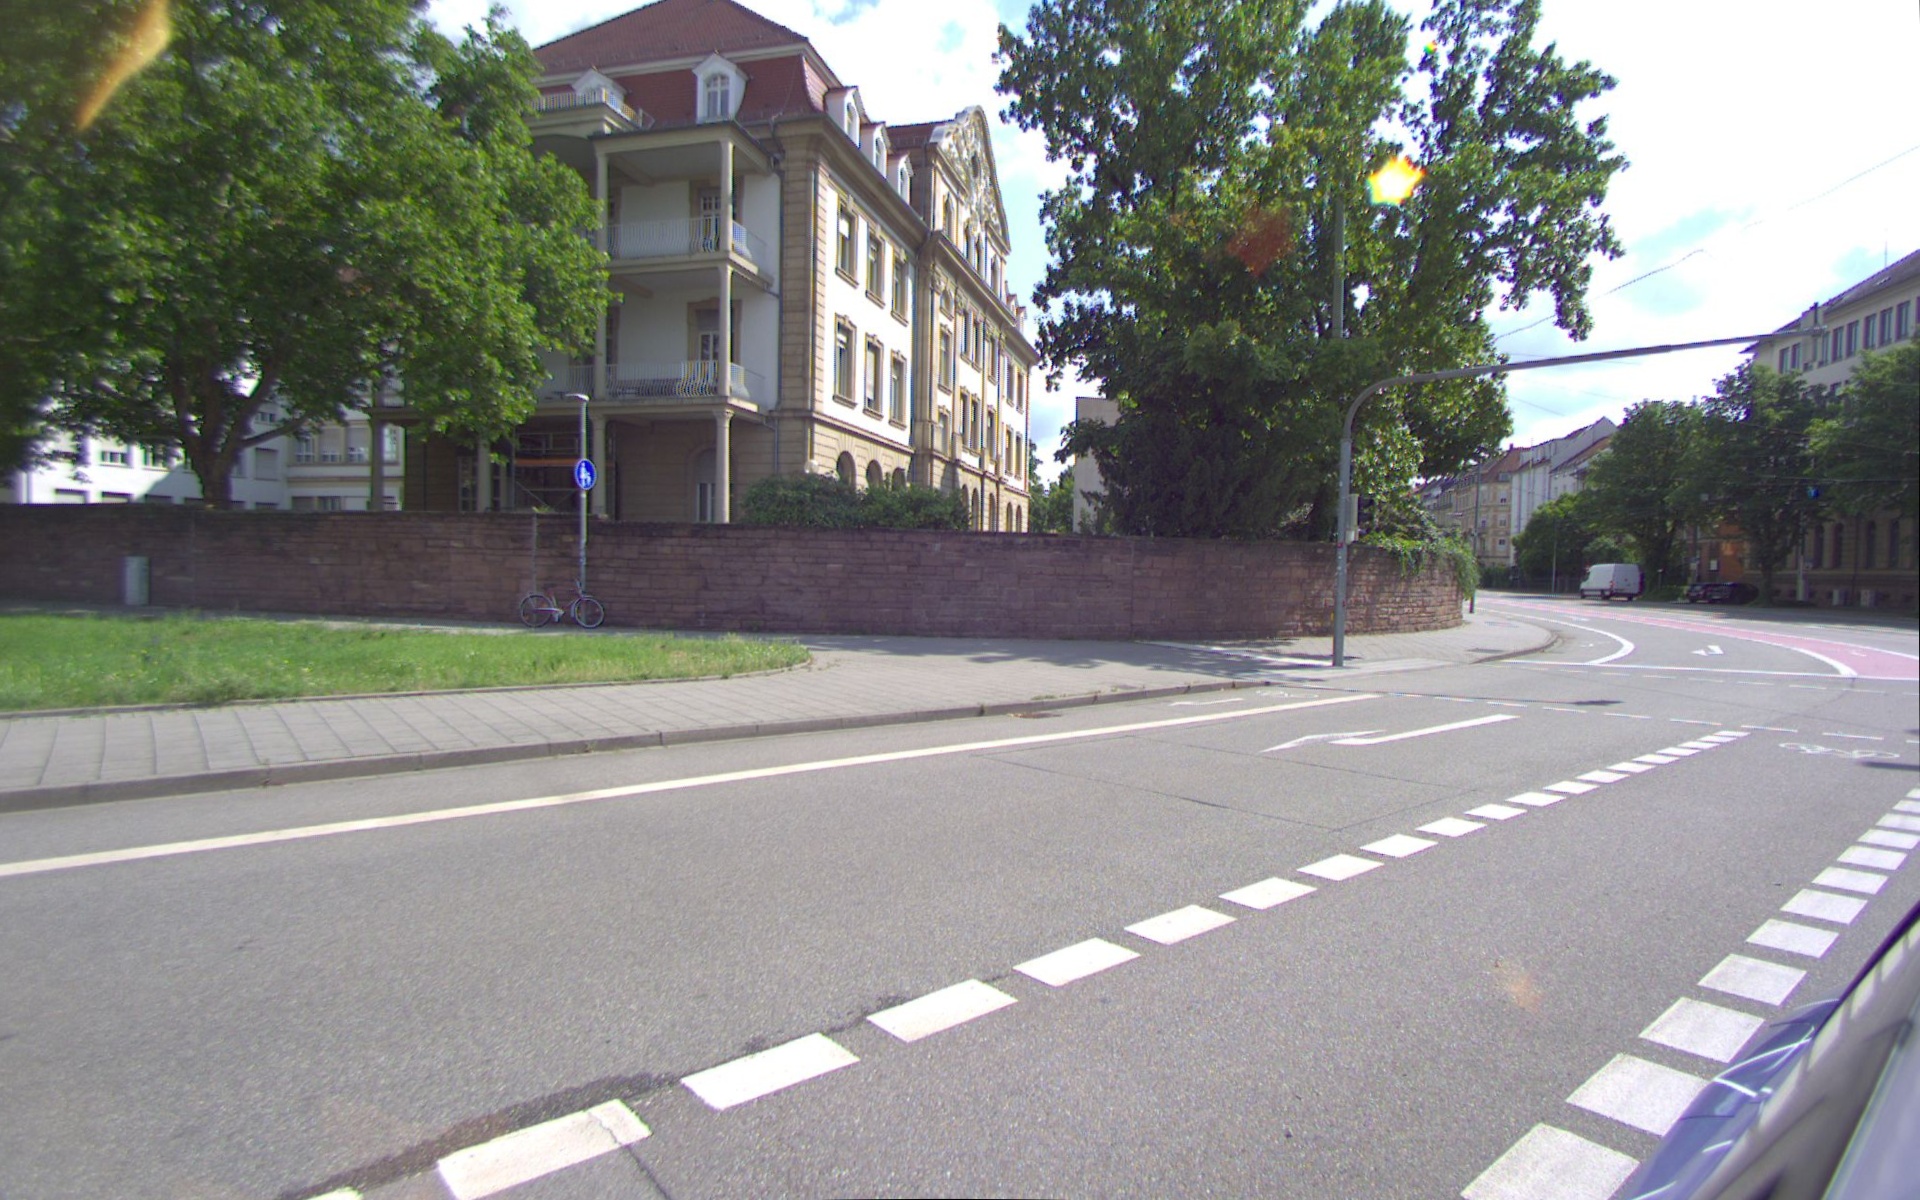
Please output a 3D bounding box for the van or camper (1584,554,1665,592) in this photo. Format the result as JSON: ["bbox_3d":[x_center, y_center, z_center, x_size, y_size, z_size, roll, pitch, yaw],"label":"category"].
[{"bbox_3d":[49.258,-2.055,75.251,2.934,2.634,6.728,2,2,15],"label":"van or camper"}]

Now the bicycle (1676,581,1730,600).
[{"bbox_3d":[53.057,-0.674,72.294,1.052,1.221,2.898,-4,4,-32],"label":"bicycle"}]

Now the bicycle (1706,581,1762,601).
[{"bbox_3d":[52.880,-0.636,69.173,1.030,1.221,2.898,-4,4,-32],"label":"bicycle"}]

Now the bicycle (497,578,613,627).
[{"bbox_3d":[-8.169,0.039,20.461,2.024,0.871,0.858,2,4,4],"label":"bicycle"}]
